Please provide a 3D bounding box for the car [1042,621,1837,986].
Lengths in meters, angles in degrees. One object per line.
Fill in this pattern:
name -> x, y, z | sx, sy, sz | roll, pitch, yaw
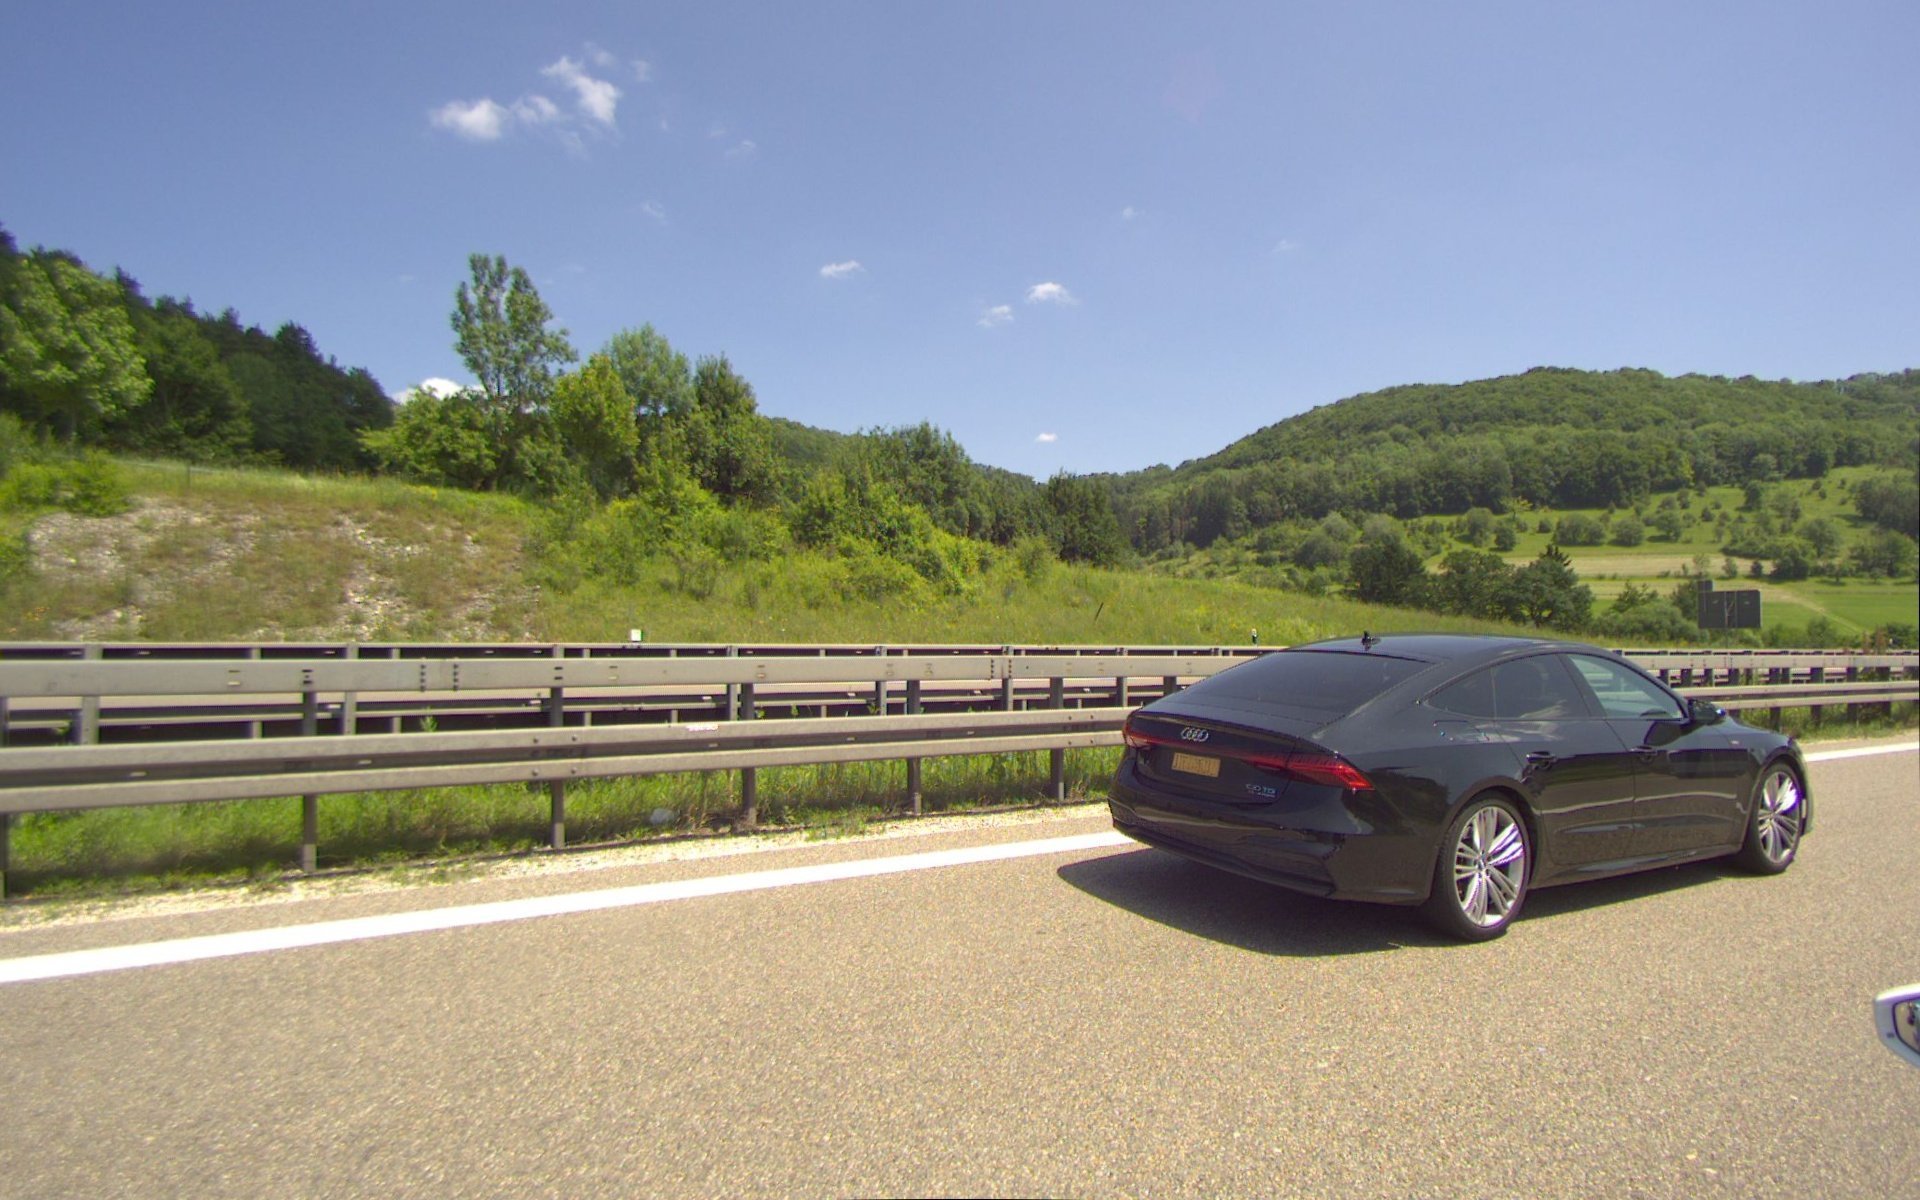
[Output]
car -> 3.022, 0.876, 5.954 | 4.910, 1.409, 1.792 | 2, -1, -30
